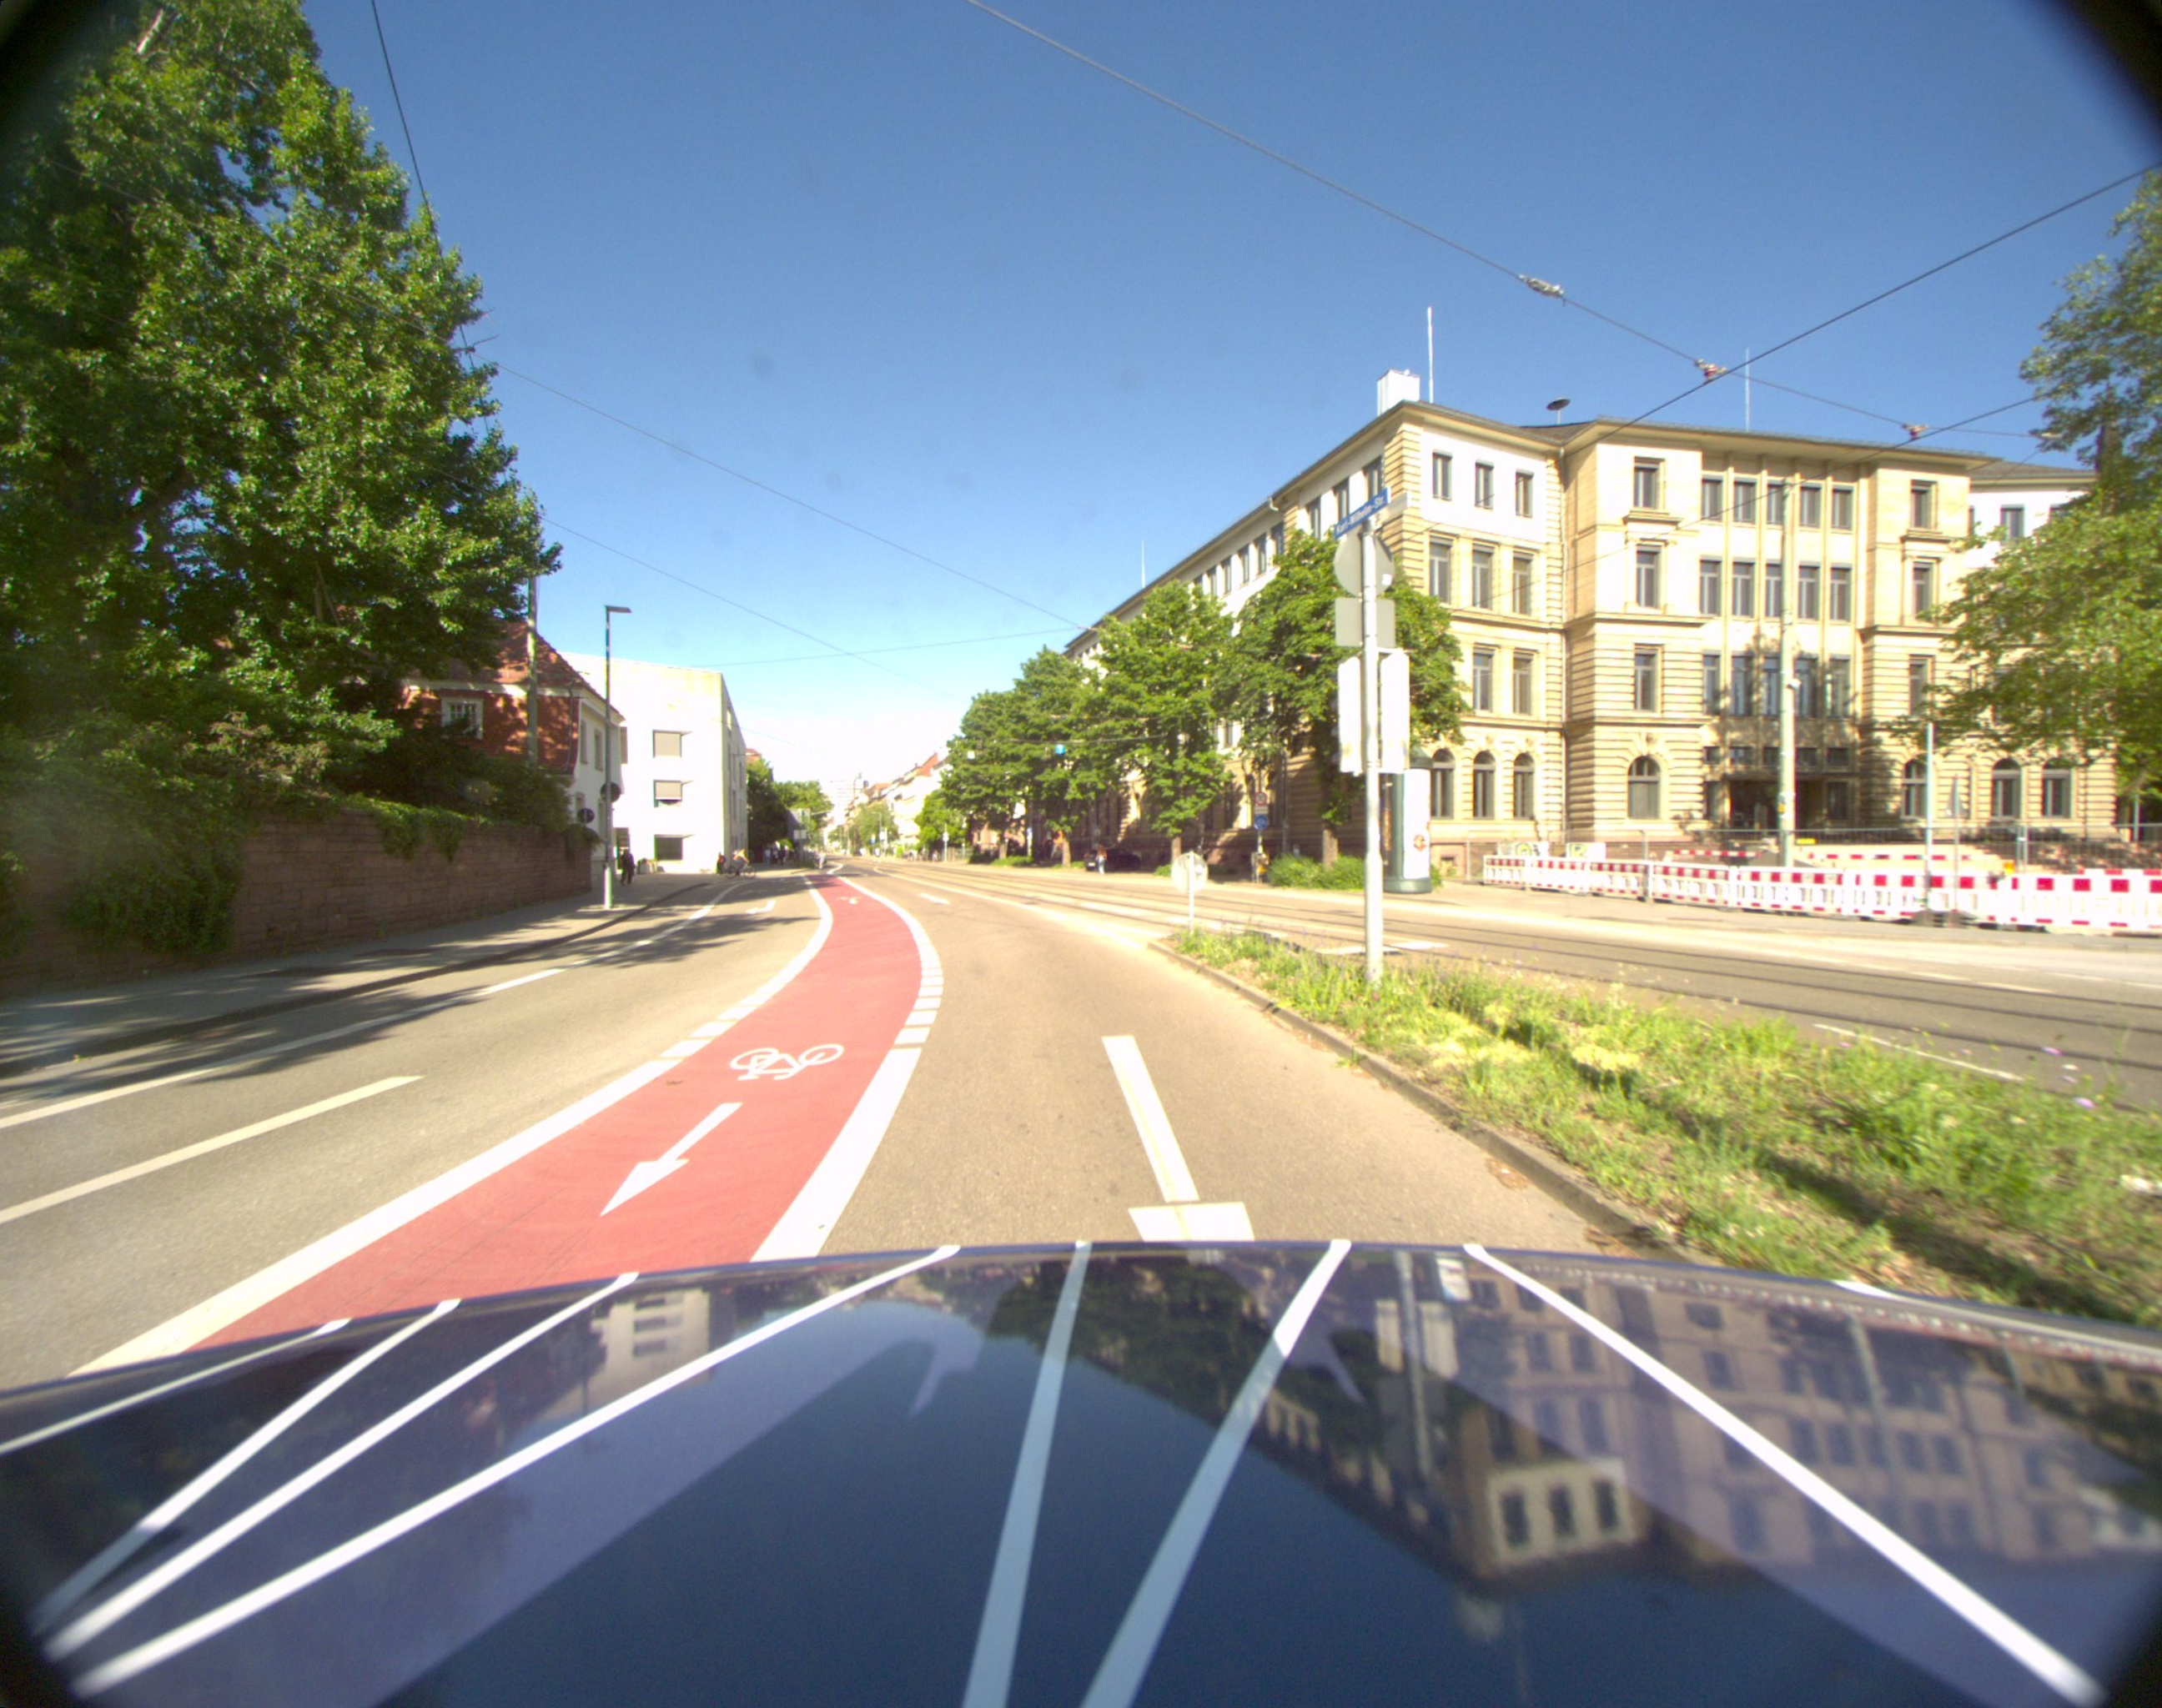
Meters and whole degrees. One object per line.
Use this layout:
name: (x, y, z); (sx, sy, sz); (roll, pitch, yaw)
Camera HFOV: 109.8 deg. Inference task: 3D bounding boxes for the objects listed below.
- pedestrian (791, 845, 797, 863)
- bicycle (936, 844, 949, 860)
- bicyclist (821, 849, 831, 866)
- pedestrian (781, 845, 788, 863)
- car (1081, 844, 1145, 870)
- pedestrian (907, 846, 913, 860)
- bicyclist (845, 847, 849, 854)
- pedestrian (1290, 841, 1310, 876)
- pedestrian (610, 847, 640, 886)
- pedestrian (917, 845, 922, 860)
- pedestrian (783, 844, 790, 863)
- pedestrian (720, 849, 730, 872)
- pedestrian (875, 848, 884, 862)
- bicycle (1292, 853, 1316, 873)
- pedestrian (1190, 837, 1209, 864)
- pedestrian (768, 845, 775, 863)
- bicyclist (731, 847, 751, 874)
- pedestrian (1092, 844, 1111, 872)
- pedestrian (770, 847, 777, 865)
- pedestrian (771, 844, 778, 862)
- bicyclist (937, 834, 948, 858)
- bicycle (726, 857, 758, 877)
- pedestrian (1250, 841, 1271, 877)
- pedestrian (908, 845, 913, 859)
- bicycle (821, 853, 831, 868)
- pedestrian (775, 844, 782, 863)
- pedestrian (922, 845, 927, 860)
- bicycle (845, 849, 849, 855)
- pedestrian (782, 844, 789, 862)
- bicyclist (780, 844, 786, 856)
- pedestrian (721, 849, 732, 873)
pedestrian: (-27.921, -0.031, 73.932); (0.588, 1.717, 0.519); (-1, 1, -21)
bicycle: (-17.191, -0.296, 94.277); (1.004, 1.877, 3.891); (-2, 2, -3)
bicyclist: (-21.847, 0.280, 65.119); (0.666, 1.453, 0.621); (-2, 3, -17)
pedestrian: (-29.157, 0.000, 74.692); (0.588, 1.796, 0.581); (-1, 1, -21)
car: (2.110, 0.146, 49.245); (1.915, 1.565, 4.118); (0, 1, 42)
pedestrian: (-22.918, -0.116, 101.875); (0.729, 1.845, 0.653); (-1, 1, -18)
bicyclist: (-62.464, -0.911, 202.676); (1.004, 1.712, 0.982); (-3, 3, -20)
pedestrian: (9.899, 0.195, 34.327); (0.579, 1.553, 0.653); (-1, 1, -20)
pedestrian: (-20.157, 0.537, 33.612); (0.941, 1.668, 0.952); (2, 1, -22)
pedestrian: (-20.962, -0.190, 98.523); (0.579, 1.845, 0.683); (-1, 1, -20)
pedestrian: (-28.436, -0.049, 73.382); (0.588, 1.796, 0.519); (-1, 1, -21)
pedestrian: (-23.740, 0.437, 50.663); (0.521, 1.557, 0.533); (-2, 2, -34)
pedestrian: (-25.223, 0.136, 95.143); (0.933, 1.728, 0.677); (-2, 2, -39)
bicycle: (10.751, 0.427, 36.703); (0.398, 0.898, 1.358); (-2, 2, -18)
pedestrian: (7.054, -0.225, 45.131); (0.673, 1.558, 0.856); (-6, 4, -24)
pedestrian: (-29.741, -0.002, 72.921); (0.588, 1.796, 0.544); (-1, 1, -21)
bicyclist: (-20.400, 0.382, 45.617); (0.881, 1.573, 0.743); (3, -1, -39)
pedestrian: (1.241, 0.253, 45.445); (0.773, 1.658, 1.032); (1, -3, -25)
pedestrian: (-30.680, 0.188, 75.898); (0.588, 1.796, 0.544); (-1, 1, -21)
pedestrian: (-29.991, -0.091, 74.244); (0.588, 1.796, 0.581); (-1, 1, -21)
bicyclist: (-17.206, -1.001, 94.327); (1.004, 2.959, 1.473); (-2, 3, -4)
bicycle: (-20.365, 0.799, 45.650); (1.602, 1.145, 0.743); (3, -1, -39)
pedestrian: (8.641, 0.220, 36.605); (0.730, 1.660, 0.845); (0, 4, -6)
pedestrian: (-22.903, -0.262, 101.833); (0.579, 1.845, 0.683); (-1, 1, -20)
bicycle: (-21.847, 0.560, 65.149); (0.666, 1.146, 1.669); (-2, 2, -16)
pedestrian: (-29.122, -0.027, 73.180); (0.588, 1.796, 0.544); (-1, 1, -21)
pedestrian: (-20.347, -0.217, 98.788); (0.579, 1.845, 0.683); (-1, 1, -20)
bicycle: (-62.452, -0.575, 202.698); (1.004, 1.672, 2.978); (-3, 2, -20)
pedestrian: (-29.694, -0.119, 76.301); (0.588, 1.796, 0.544); (-1, 1, -21)
bicyclist: (-55.792, -0.788, 142.148); (0.814, 2.194, 0.982); (-2, 3, -19)
pedestrian: (-23.421, 0.444, 50.165); (0.521, 1.557, 0.533); (-2, 2, -34)
